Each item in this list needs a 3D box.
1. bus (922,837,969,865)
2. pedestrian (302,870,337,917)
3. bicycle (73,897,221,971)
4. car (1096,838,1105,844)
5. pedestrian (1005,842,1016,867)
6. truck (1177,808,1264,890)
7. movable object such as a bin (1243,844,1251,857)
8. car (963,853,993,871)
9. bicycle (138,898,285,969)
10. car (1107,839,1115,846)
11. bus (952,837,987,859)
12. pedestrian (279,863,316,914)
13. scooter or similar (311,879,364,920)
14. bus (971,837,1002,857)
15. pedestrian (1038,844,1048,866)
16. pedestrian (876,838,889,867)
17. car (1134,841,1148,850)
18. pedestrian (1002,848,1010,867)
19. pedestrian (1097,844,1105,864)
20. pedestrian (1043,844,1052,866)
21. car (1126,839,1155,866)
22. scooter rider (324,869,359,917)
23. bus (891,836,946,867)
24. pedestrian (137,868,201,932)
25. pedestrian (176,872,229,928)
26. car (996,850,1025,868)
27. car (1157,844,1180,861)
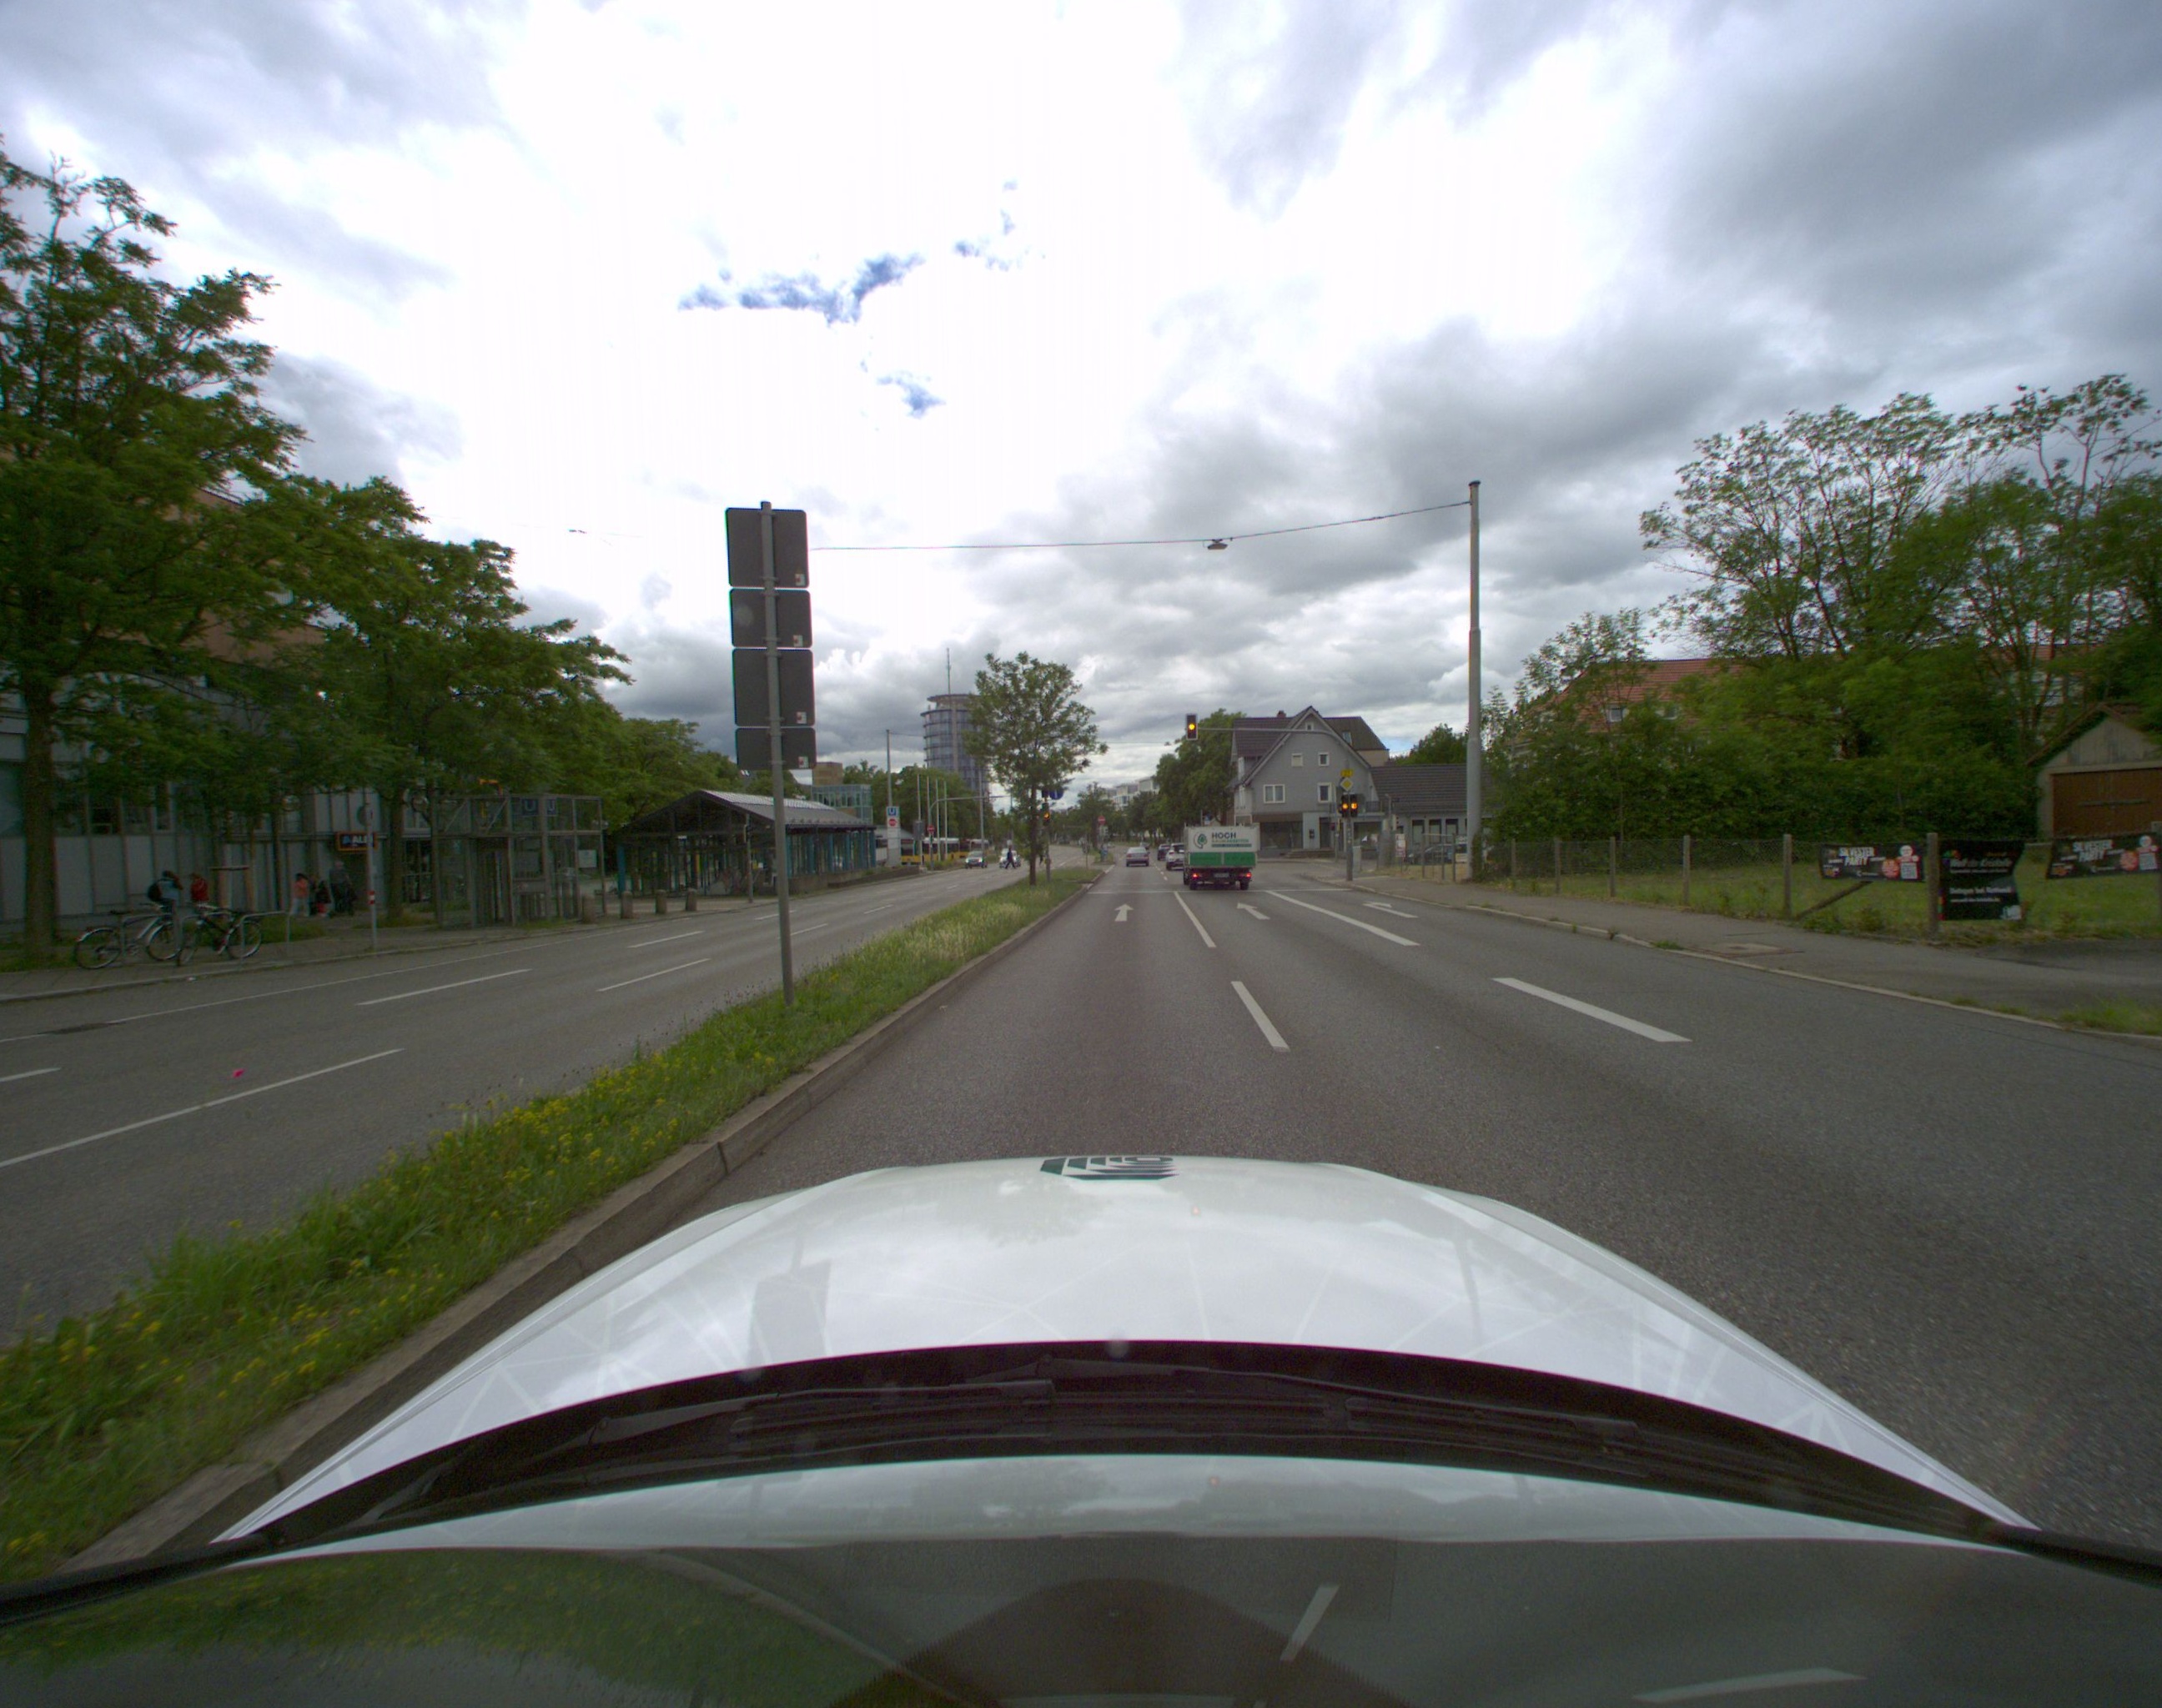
[{"bbox_3d":[-17.631,-0.422,106.854,2.815,3.430,10.759,-2,0,8],"label":"bus"},{"bbox_3d":[-26.591,1.367,28.449,0.516,1.589,0.679,-2,1,-4],"label":"pedestrian"},{"bbox_3d":[-17.314,1.437,15.176,0.713,1.136,1.949,-2,1,-10],"label":"bicycle"},{"bbox_3d":[4.797,-3.145,199.192,1.987,1.519,4.001,-2,1,1],"label":"car"},{"bbox_3d":[-5.633,0.052,65.214,0.828,2.013,0.545,-2,0,-3],"label":"pedestrian"},{"bbox_3d":[4.847,-0.256,29.339,2.459,2.611,6.556,-1,2,4],"label":"truck"},{"bbox_3d":[13.348,-0.254,65.578,0.601,1.059,0.590,0,0,6],"label":"movable object such as a bin"},{"bbox_3d":[-9.381,0.703,74.708,1.985,1.486,4.003,-2,0,3],"label":"car"},{"bbox_3d":[-16.207,1.451,15.266,0.830,1.083,1.930,-2,1,-10],"label":"bicycle"},{"bbox_3d":[7.378,-2.825,199.654,1.987,1.519,4.001,-2,1,1],"label":"car"},{"bbox_3d":[-18.857,-0.997,138.755,2.815,3.430,10.759,-2,0,8],"label":"bus"},{"bbox_3d":[-27.278,1.188,28.372,0.563,1.727,0.679,-2,1,-4],"label":"pedestrian"},{"bbox_3d":[-24.878,1.499,27.256,0.477,1.267,1.291,0,0,9],"label":"scooter or similar"},{"bbox_3d":[-17.277,-1.208,149.424,2.815,3.430,10.759,-2,0,8],"label":"bus"},{"bbox_3d":[-3.105,0.067,65.869,0.744,1.716,0.582,-2,0,-3],"label":"pedestrian"},{"bbox_3d":[-14.175,-0.111,58.260,0.679,2.013,0.645,-2,0,0],"label":"pedestrian"},{"bbox_3d":[11.322,-1.603,153.537,1.990,1.552,3.994,-2,0,-5],"label":"car"},{"bbox_3d":[-6.080,0.284,66.118,0.541,1.496,0.486,-2,0,-1],"label":"pedestrian"},{"bbox_3d":[1.698,0.001,67.957,0.582,1.716,0.545,-2,0,-3],"label":"pedestrian"},{"bbox_3d":[-2.698,0.056,65.264,0.651,1.716,0.452,-2,0,-3],"label":"pedestrian"},{"bbox_3d":[4.277,-0.152,58.547,1.984,1.830,4.005,-1,0,4],"label":"car"},{"bbox_3d":[-24.847,1.298,27.378,0.522,1.545,0.708,0,0,7],"label":"scooter rider"},{"bbox_3d":[-19.137,-0.322,96.796,2.815,3.430,10.759,-2,0,8],"label":"bus"},{"bbox_3d":[-25.237,1.264,22.548,0.769,1.716,0.885,0,0,-5],"label":"pedestrian"},{"bbox_3d":[-26.219,1.350,24.323,0.633,1.586,0.824,-2,0,-6],"label":"pedestrian"},{"bbox_3d":[-6.419,0.424,74.331,1.985,1.486,4.003,-2,0,3],"label":"car"},{"bbox_3d":[7.985,-0.166,74.595,1.984,1.552,4.005,-1,1,4],"label":"car"}]
